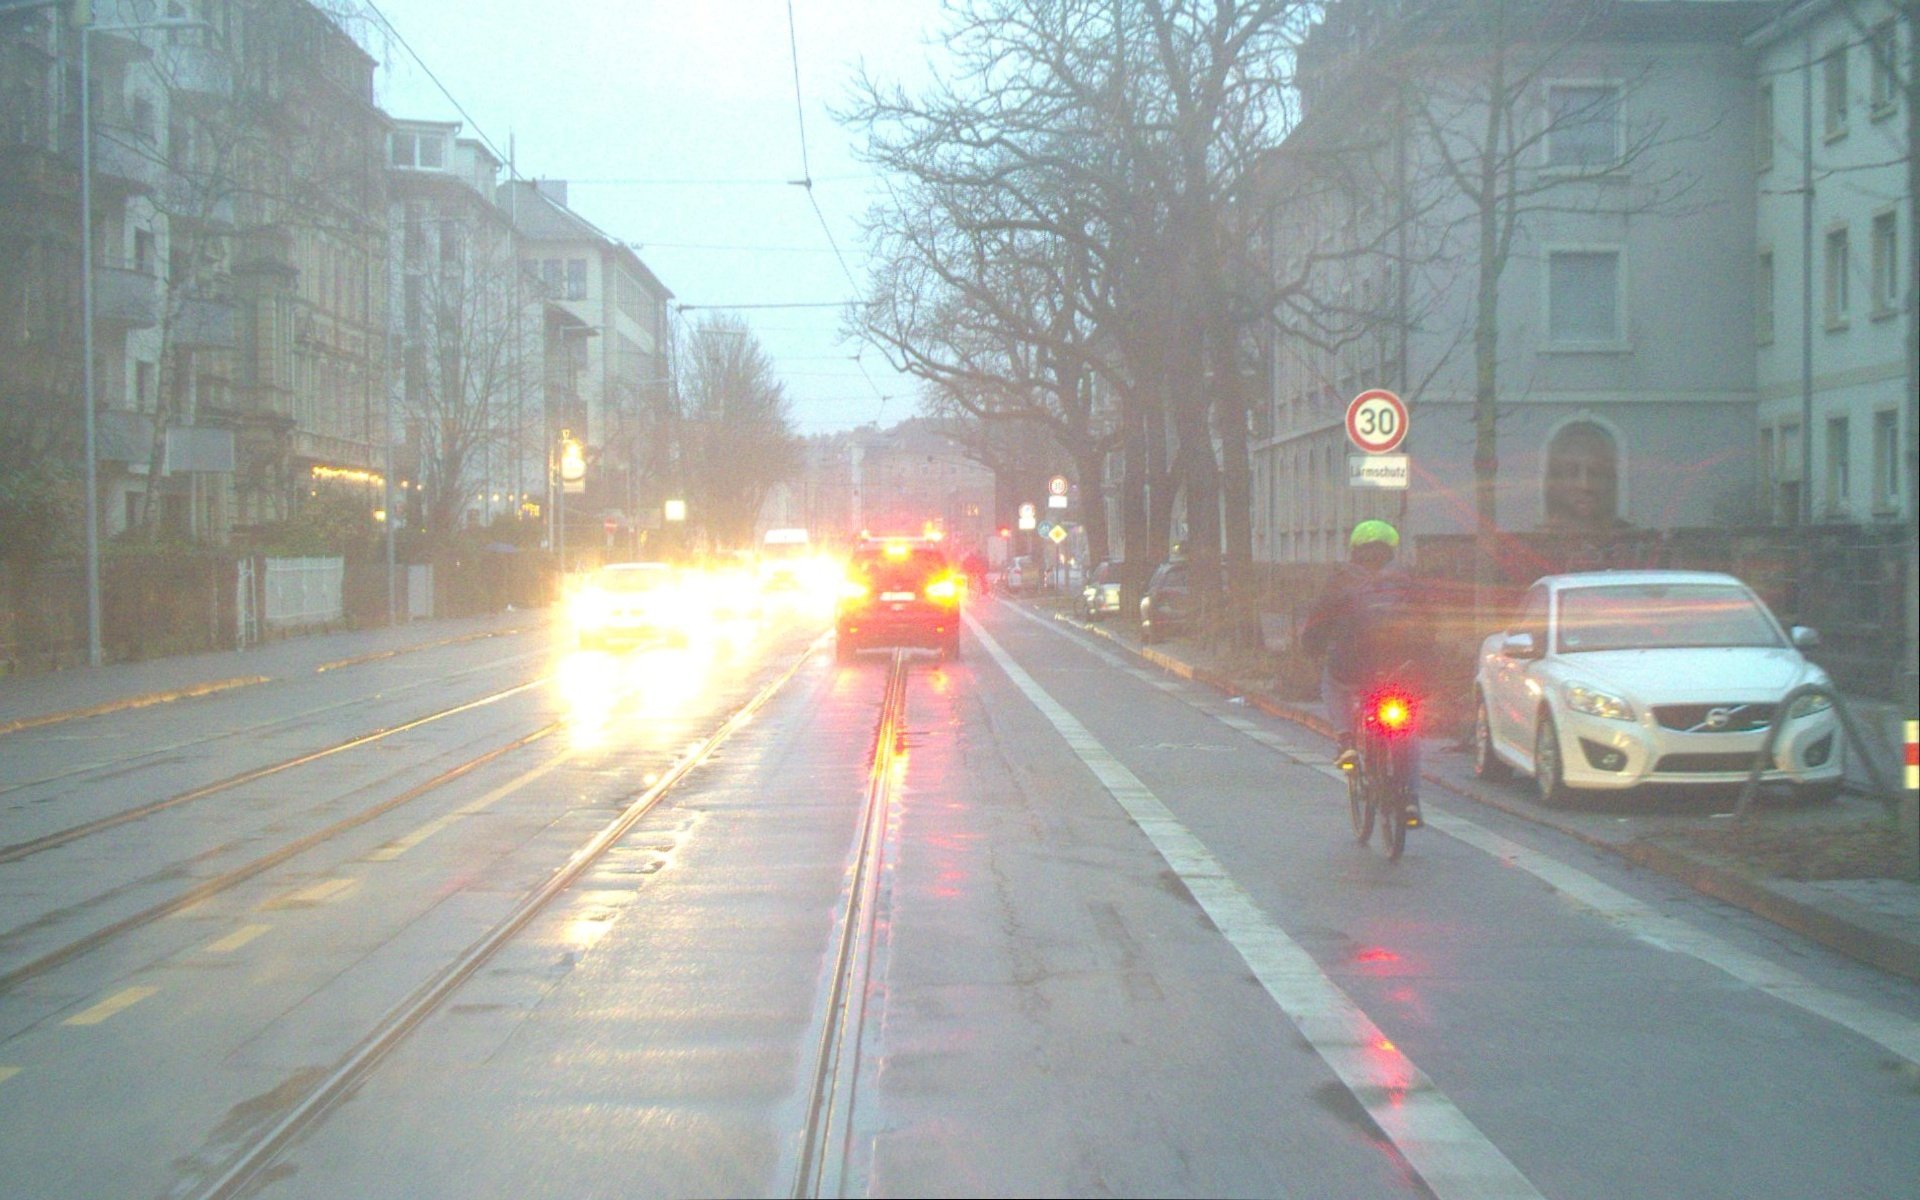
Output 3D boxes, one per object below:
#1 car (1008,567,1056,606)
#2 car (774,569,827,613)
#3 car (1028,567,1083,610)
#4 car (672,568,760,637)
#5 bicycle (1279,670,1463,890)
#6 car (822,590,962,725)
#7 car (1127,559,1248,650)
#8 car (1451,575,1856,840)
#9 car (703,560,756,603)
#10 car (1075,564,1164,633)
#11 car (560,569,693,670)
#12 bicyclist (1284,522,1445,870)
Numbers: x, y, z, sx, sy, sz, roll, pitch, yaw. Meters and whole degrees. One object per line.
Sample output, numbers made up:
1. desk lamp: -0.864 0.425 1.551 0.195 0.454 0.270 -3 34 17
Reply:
1. car: 2.848 -0.563 136.798 1.785 1.504 4.108 -1 1 0
2. car: -6.169 -0.371 133.471 1.923 1.656 4.000 -1 1 -1
3. car: 3.410 -0.438 123.527 1.785 1.504 4.108 -1 1 0
4. car: -6.077 0.045 85.971 1.923 1.656 4.000 -1 1 -1
5. bicycle: 2.066 0.886 17.480 0.731 1.003 1.764 0 1 0
6. car: -0.994 0.834 52.223 1.802 1.864 4.018 2 1 3
7. car: 3.930 0.059 59.850 1.785 1.504 4.108 -1 1 0
8. car: 4.322 0.610 22.019 1.785 1.504 4.108 -1 1 1
9. car: -9.391 -0.768 140.168 1.923 1.714 4.000 -1 1 -1
10. car: 3.586 -0.049 77.877 1.785 1.504 4.108 -1 1 0
11. car: -5.720 0.303 59.368 1.923 1.656 4.000 -1 1 -1
12. bicyclist: 2.054 0.476 17.533 0.730 1.730 0.765 0 0 1
